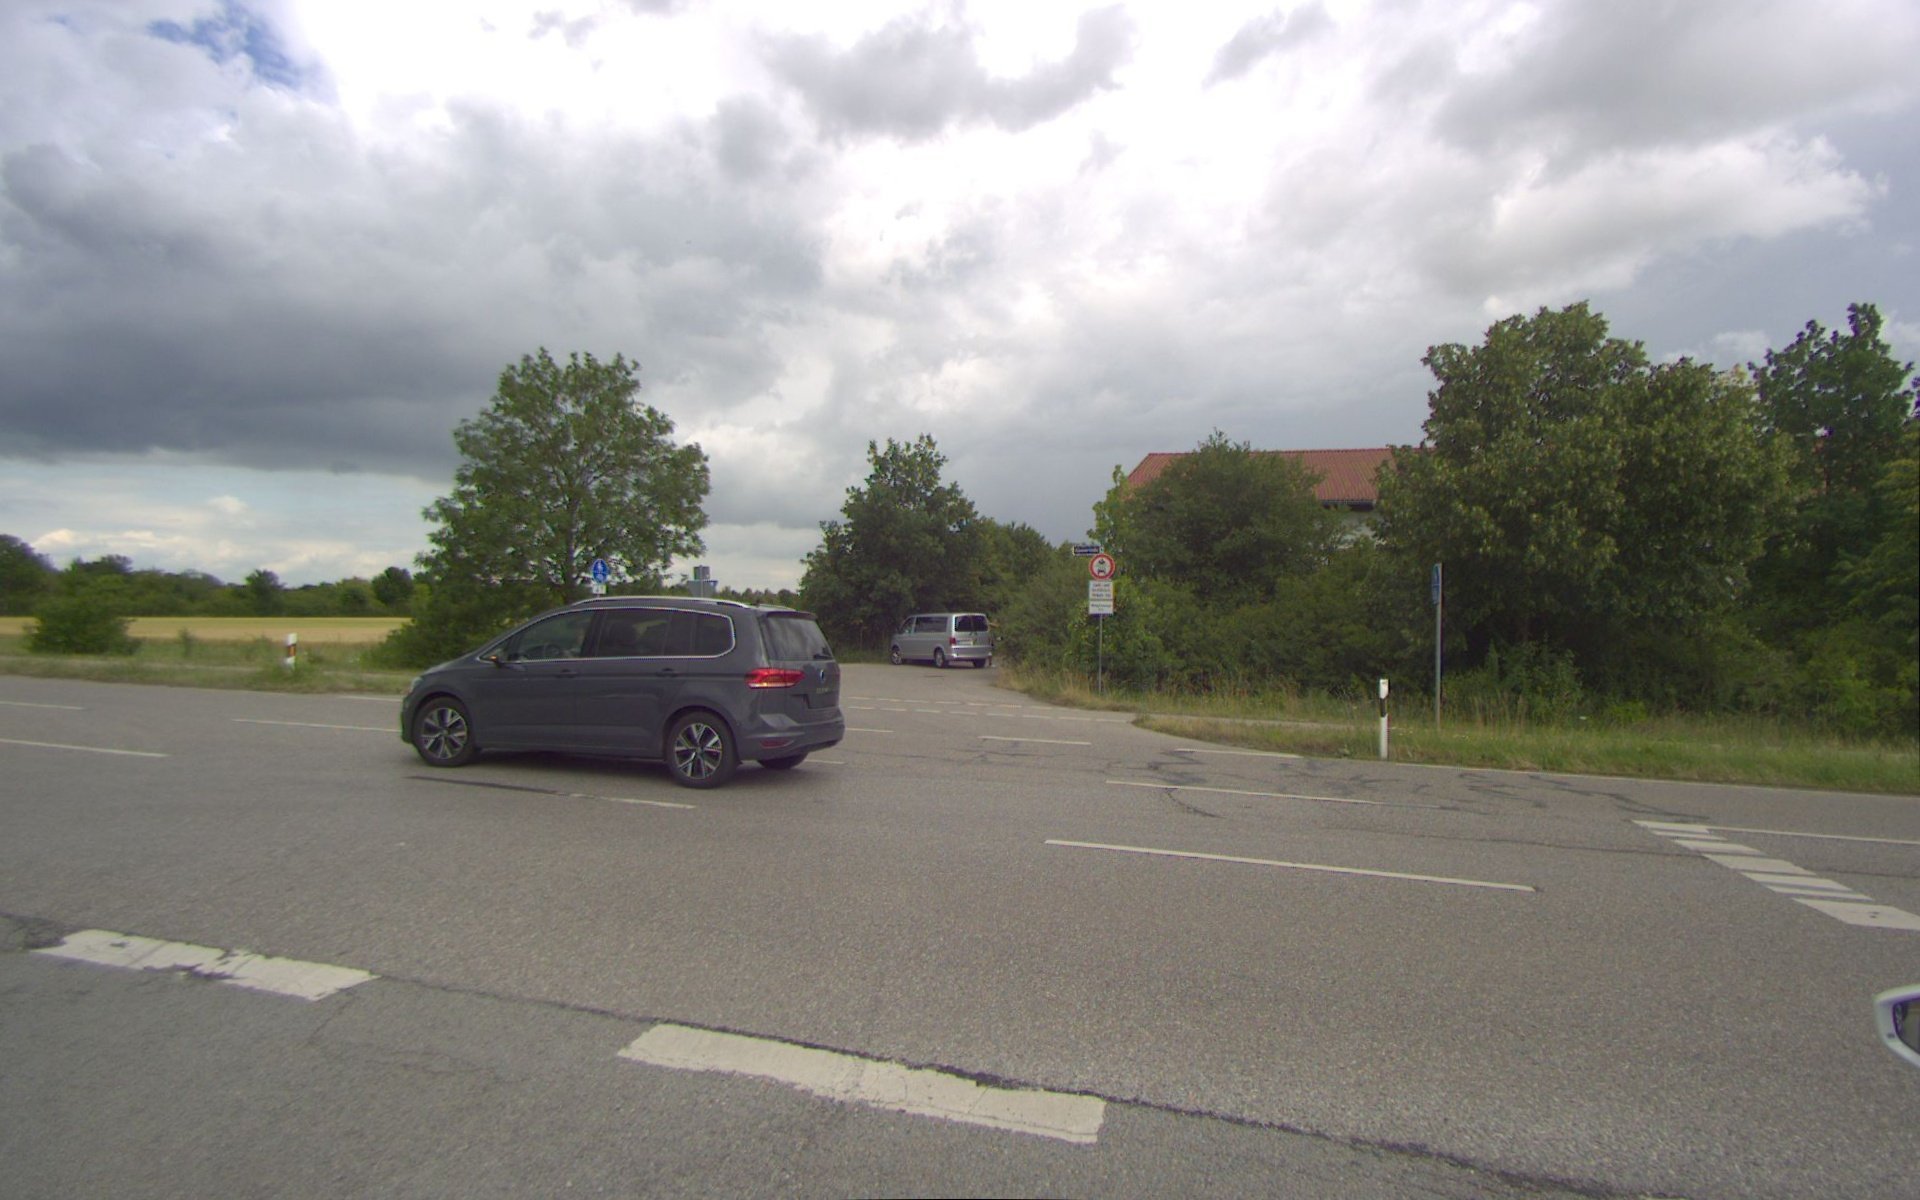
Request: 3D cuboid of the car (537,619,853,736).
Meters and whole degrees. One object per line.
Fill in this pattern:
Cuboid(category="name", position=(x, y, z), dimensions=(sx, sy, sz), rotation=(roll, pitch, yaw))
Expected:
Cuboid(category="car", position=(-3.697, 1.031, 14.132), dimensions=(4.008, 1.420, 1.679), rotation=(0, -2, 18))

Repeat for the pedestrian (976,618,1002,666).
Cuboid(category="pedestrian", position=(1.077, 1.542, 37.139), dimensions=(0.690, 1.746, 0.732), rotation=(1, -1, 25))

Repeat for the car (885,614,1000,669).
Cuboid(category="car", position=(-0.751, 1.477, 37.713), dimensions=(2.089, 1.911, 5.058), rotation=(0, -1, -31))

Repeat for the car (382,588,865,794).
Cuboid(category="car", position=(-3.234, 0.783, 9.825), dimensions=(4.205, 1.680, 1.755), rotation=(1, -2, 17))
